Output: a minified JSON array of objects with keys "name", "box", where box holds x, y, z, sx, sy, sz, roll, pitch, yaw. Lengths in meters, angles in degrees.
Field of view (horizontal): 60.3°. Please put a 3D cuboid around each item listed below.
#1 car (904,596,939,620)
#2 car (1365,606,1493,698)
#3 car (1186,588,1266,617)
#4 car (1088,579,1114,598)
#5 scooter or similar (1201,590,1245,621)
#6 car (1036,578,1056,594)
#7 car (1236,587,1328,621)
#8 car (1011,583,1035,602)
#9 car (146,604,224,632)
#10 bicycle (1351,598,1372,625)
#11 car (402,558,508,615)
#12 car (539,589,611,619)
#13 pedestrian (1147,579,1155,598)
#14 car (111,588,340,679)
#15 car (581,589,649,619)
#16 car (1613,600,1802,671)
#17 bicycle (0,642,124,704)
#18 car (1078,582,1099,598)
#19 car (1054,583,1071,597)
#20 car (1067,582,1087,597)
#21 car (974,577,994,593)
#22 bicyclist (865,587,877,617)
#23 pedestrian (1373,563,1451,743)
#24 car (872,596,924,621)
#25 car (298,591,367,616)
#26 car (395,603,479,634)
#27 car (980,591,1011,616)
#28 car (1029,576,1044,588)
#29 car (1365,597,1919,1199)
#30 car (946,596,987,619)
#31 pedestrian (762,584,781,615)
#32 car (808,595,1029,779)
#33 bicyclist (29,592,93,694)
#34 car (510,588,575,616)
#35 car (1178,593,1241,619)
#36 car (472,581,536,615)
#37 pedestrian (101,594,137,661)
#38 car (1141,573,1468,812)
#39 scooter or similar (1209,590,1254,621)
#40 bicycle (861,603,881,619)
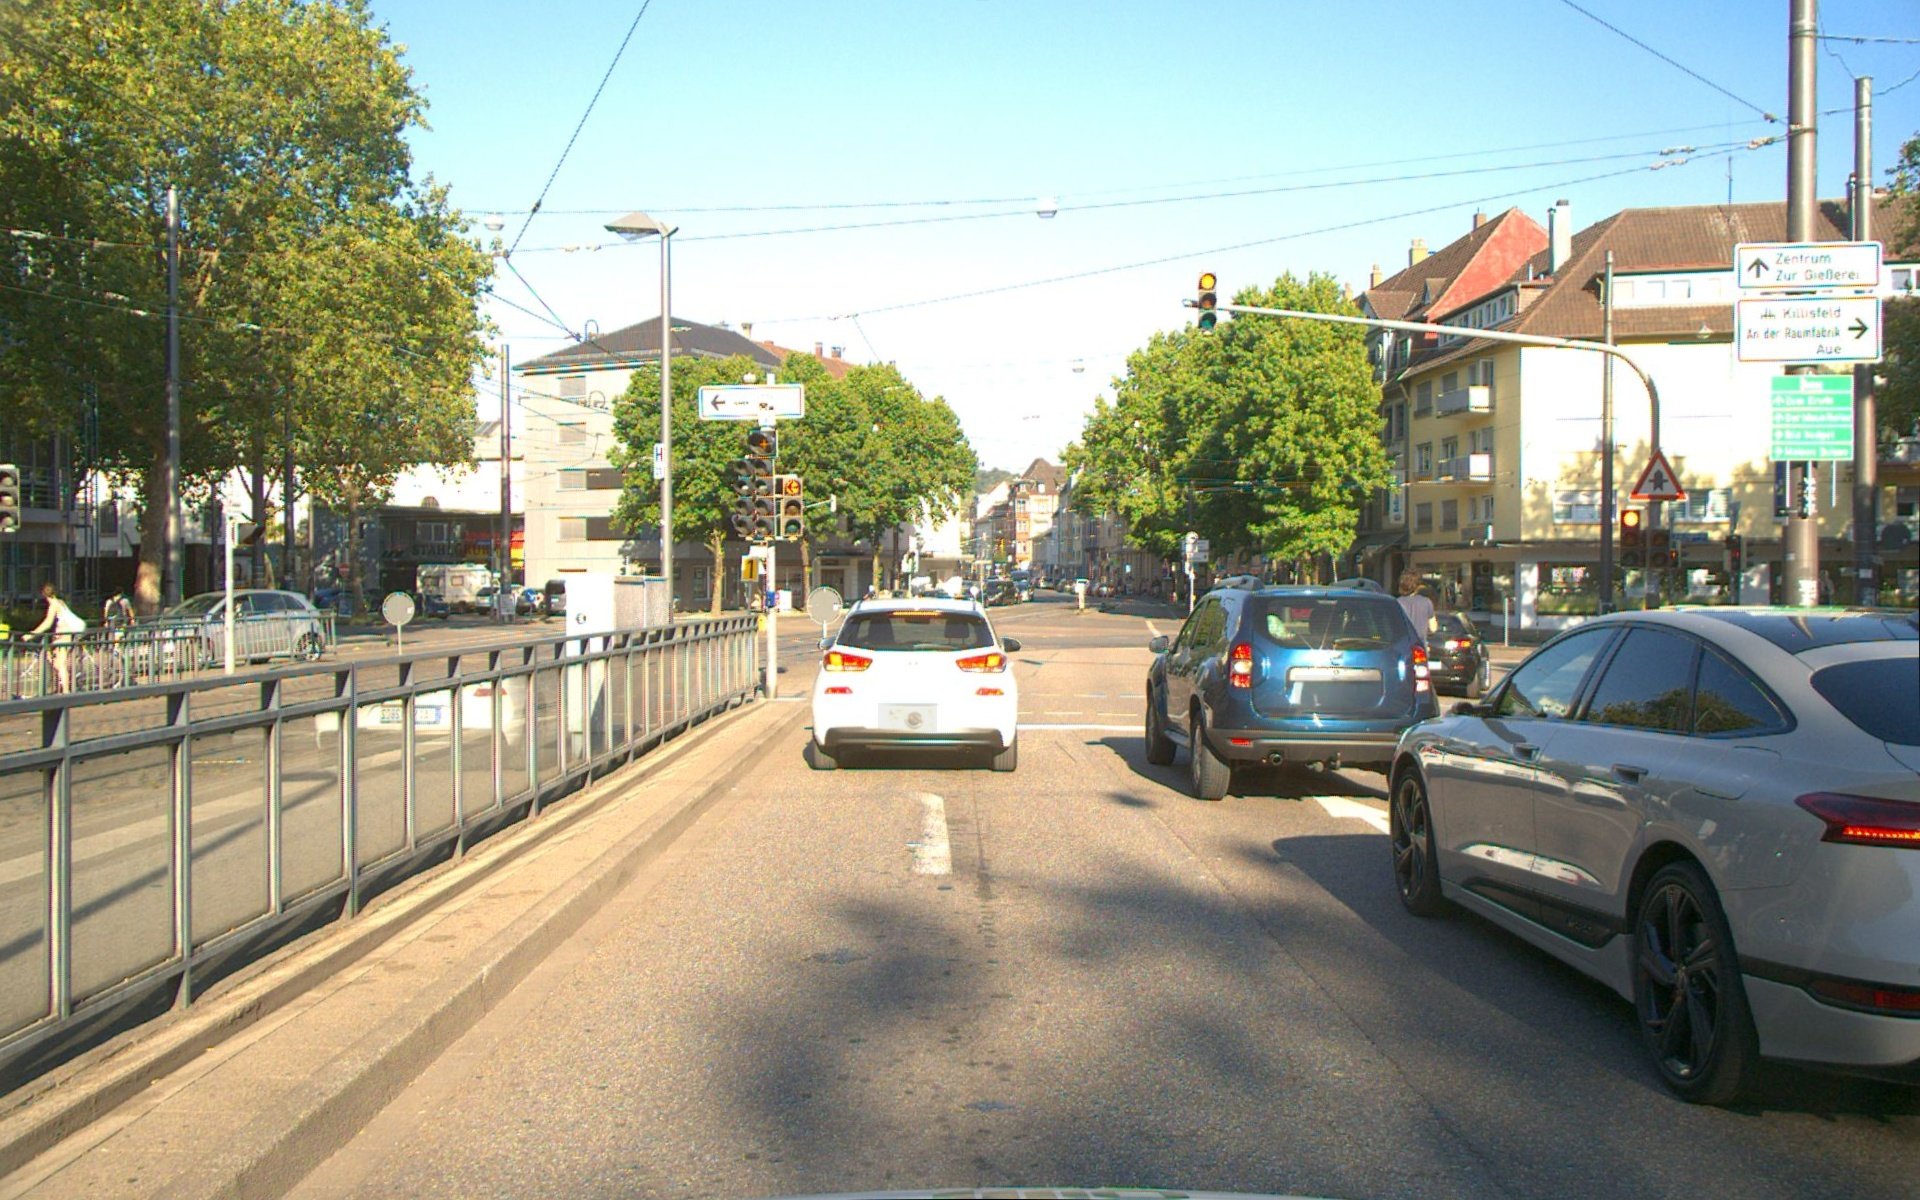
[{"name":"car","box":[-2.512,0.515,108.090,1.756,1.537,4.003,0,0,6]},{"name":"car","box":[8.382,0.863,29.346,1.763,1.464,4.045,1,0,22]},{"name":"car","box":[14.153,0.138,88.066,3.911,1.537,1.797,0,0,-7]},{"name":"car","box":[13.640,-1.133,160.071,2.062,1.807,4.340,0,0,-1]},{"name":"scooter or similar","box":[11.373,0.222,71.524,1.915,1.303,0.550,0,0,41]},{"name":"car","box":[11.248,-1.795,216.984,2.280,2.049,4.975,0,0,-1]},{"name":"car","box":[15.136,0.183,77.777,3.913,1.537,1.796,0,0,-9]},{"name":"car","box":[5.281,-0.637,138.316,1.758,1.537,3.999,0,0,-2]},{"name":"car","box":[-44.021,1.016,93.958,3.904,1.537,1.800,0,0,20]},{"name":"bicycle","box":[17.385,0.486,71.673,0.596,1.127,1.801,0,0,4]},{"name":"car","box":[-29.657,-0.768,97.464,2.445,3.220,6.535,0,0,22]},{"name":"car","box":[-21.772,0.218,93.664,1.760,1.678,4.004,0,0,28]},{"name":"pedestrian","box":[17.516,-1.035,151.503,0.634,1.680,0.650,1,-1,10]},{"name":"car","box":[-15.040,0.648,34.110,1.779,1.722,4.157,1,0,25]},{"name":"car","box":[-19.357,0.211,92.993,1.881,1.678,4.181,0,0,20]},{"name":"car","box":[17.303,0.781,38.299,3.931,1.536,1.788,0,1,-22]},{"name":"bicycle","box":[-12.895,1.036,23.716,1.595,0.830,0.522,0,0,-31]},{"name":"car","box":[12.961,-1.026,166.590,1.758,1.537,3.999,0,0,-1]},{"name":"car","box":[11.879,-1.167,191.972,1.758,1.549,3.999,0,0,-1]},{"name":"car","box":[12.212,-1.070,172.739,1.758,1.537,3.999,0,0,-1]},{"name":"car","box":[2.294,-1.416,161.185,1.758,1.537,3.999,0,0,-2]},{"name":"bicyclist","box":[-5.264,0.130,97.688,0.458,1.776,0.717,0,0,22]},{"name":"pedestrian","box":[4.840,0.556,17.748,0.643,1.904,0.677,0,0,-1]},{"name":"car","box":[-3.810,0.513,102.080,1.689,1.537,3.874,0,-1,24]},{"name":"car","box":[-38.733,0.202,102.158,1.758,1.537,3.999,0,0,23]},{"name":"car","box":[-27.154,0.931,85.886,3.904,1.537,1.800,0,0,20]},{"name":"car","box":[2.646,0.226,123.659,1.756,1.858,4.003,0,0,9]},{"name":"car","box":[10.244,-2.402,222.405,1.758,1.537,3.999,0,0,-1]},{"name":"car","box":[3.145,0.754,6.437,1.890,1.498,4.854,0,0,-1]},{"name":"car","box":[0.502,0.533,116.193,1.756,1.537,4.002,0,0,18]},{"name":"pedestrian","box":[-10.816,-0.029,95.023,0.820,1.802,0.782,0,0,25]},{"name":"car","box":[-0.378,0.701,15.409,1.771,1.478,3.999,1,0,-1]},{"name":"bicyclist","box":[-12.894,0.604,23.717,0.792,1.439,0.522,0,0,-31]},{"name":"car","box":[-24.115,0.098,95.647,1.756,1.537,4.012,0,0,18]},{"name":"car","box":[15.436,0.356,102.235,3.967,1.537,1.772,0,0,-43]},{"name":"car","box":[-26.577,-0.123,96.511,1.756,1.990,4.002,0,0,18]},{"name":"pedestrian","box":[-20.124,0.654,39.595,0.524,1.579,0.677,0,0,-1]},{"name":"car","box":[2.638,0.638,13.601,1.764,1.666,4.044,0,0,-1]},{"name":"scooter or similar","box":[11.822,0.236,72.081,1.915,1.303,0.550,0,0,41]},{"name":"bicycle","box":[-5.266,0.644,97.686,0.458,0.973,1.767,0,0,22]}]
